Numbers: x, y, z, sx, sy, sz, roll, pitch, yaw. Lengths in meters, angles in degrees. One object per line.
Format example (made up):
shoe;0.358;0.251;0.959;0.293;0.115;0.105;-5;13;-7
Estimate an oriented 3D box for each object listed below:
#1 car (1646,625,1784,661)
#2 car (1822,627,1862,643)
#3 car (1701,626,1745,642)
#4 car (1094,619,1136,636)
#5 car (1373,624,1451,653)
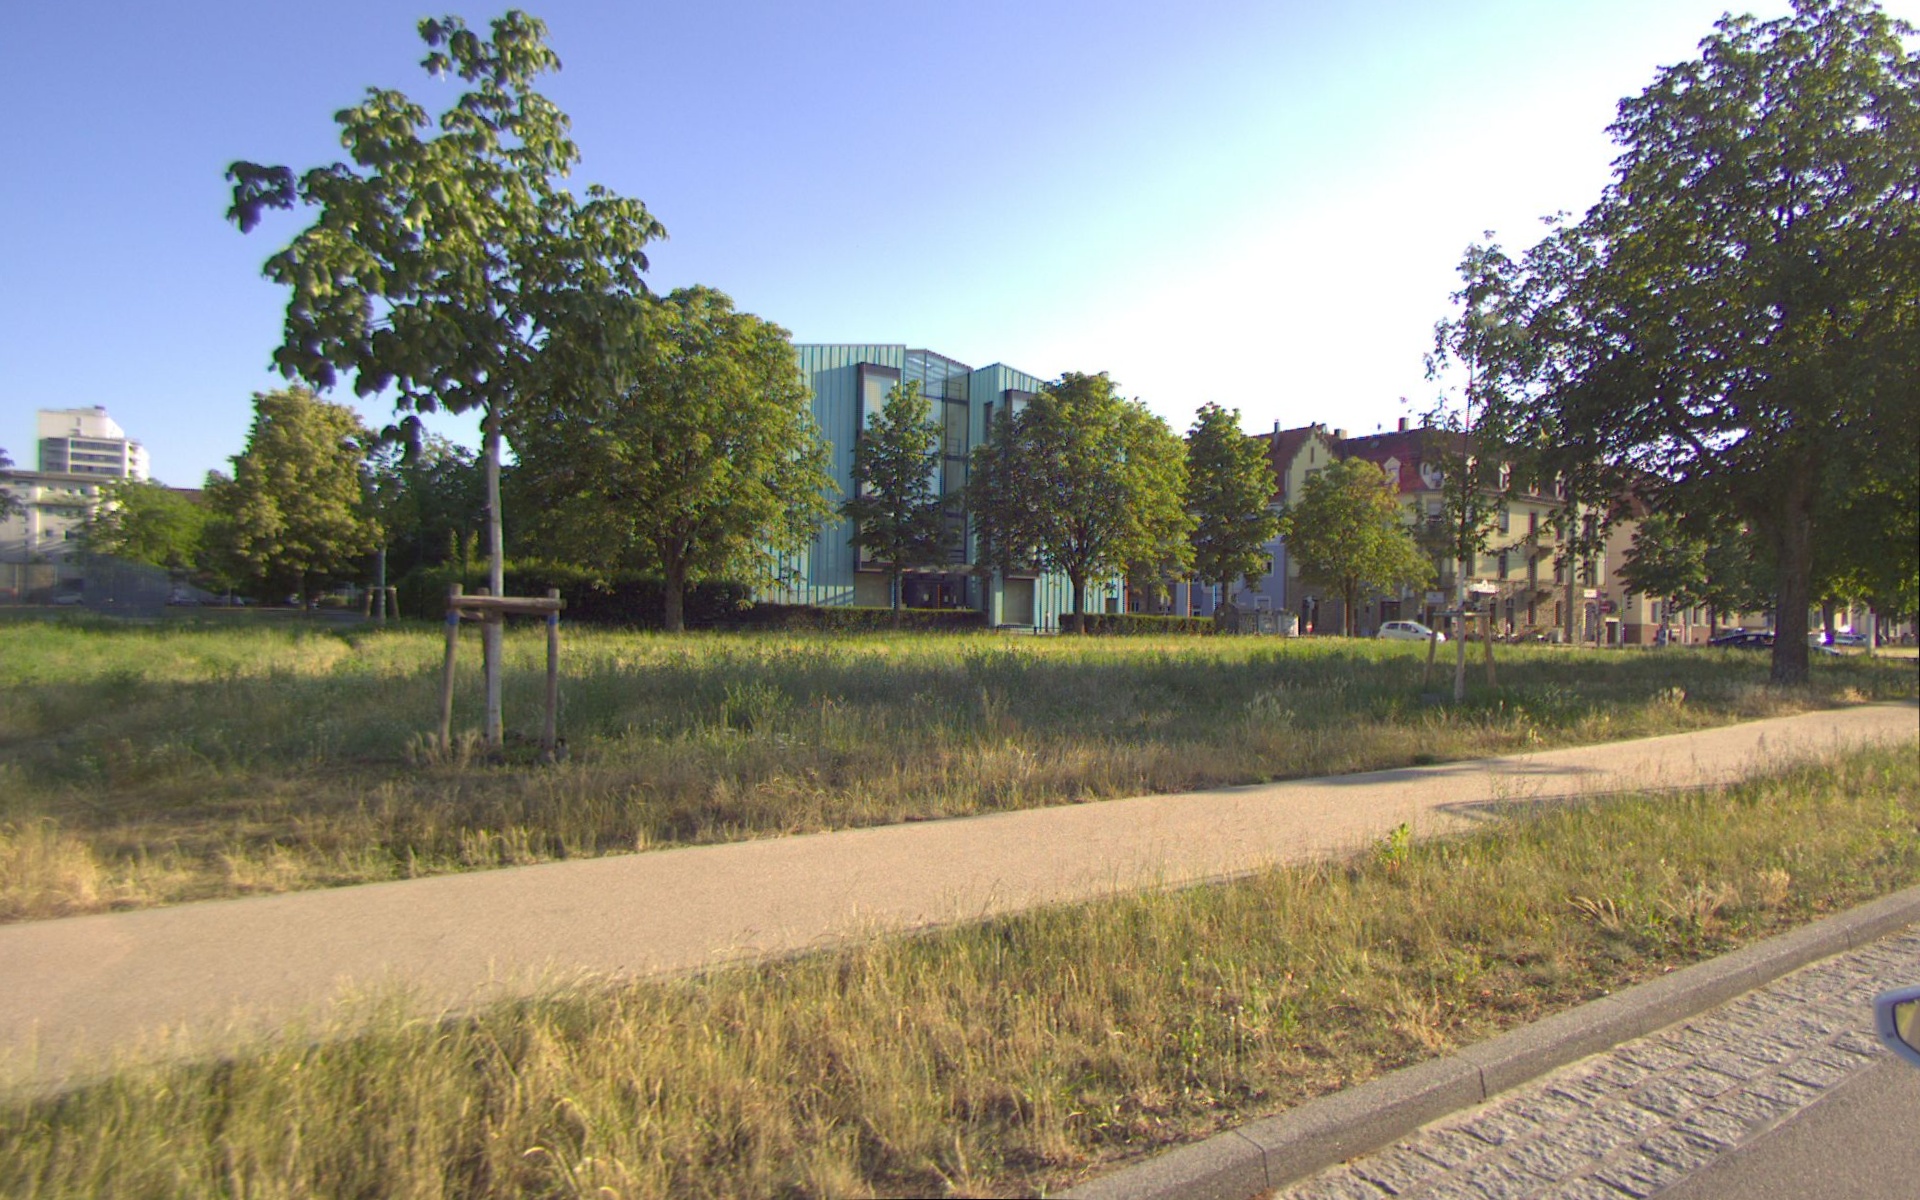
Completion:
car;34.092;1.917;45.490;1.799;1.453;4.727;2;-1;-38
car;82.268;3.238;93.694;3.748;1.446;1.729;1;0;-31
car;71.066;3.145;93.589;3.740;1.416;1.733;1;0;-25
car;15.331;2.703;99.405;2.074;1.613;4.014;3;-2;-28
car;25.662;2.160;57.064;1.728;1.508;3.653;1;0;-42
